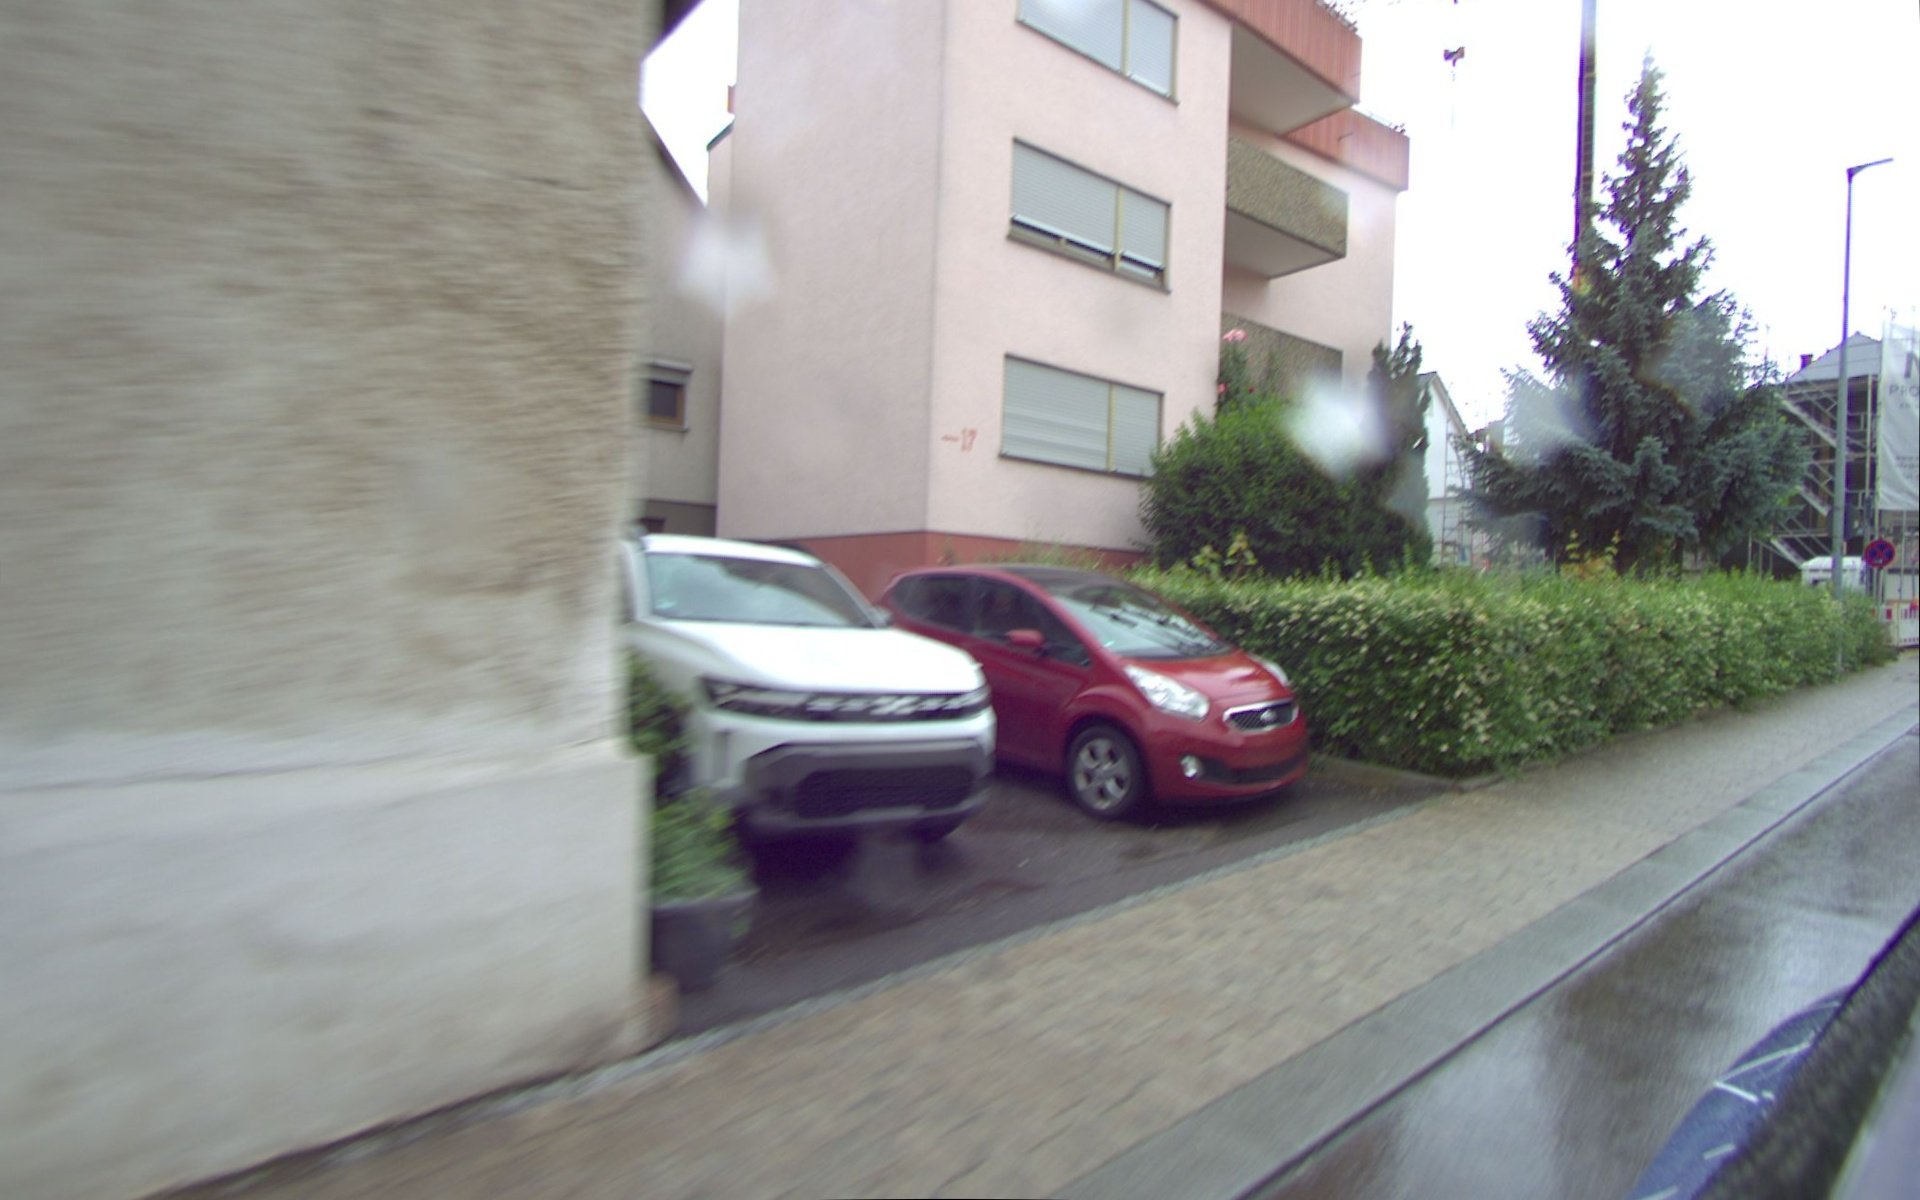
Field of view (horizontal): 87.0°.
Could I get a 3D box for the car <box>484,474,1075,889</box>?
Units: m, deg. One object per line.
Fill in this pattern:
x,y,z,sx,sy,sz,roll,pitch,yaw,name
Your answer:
-1.453,0.216,6.304,1.868,1.669,4.230,0,3,-38,car

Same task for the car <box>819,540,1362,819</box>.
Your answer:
0.772,0.370,8.032,1.766,1.586,4.118,0,3,-41,car
